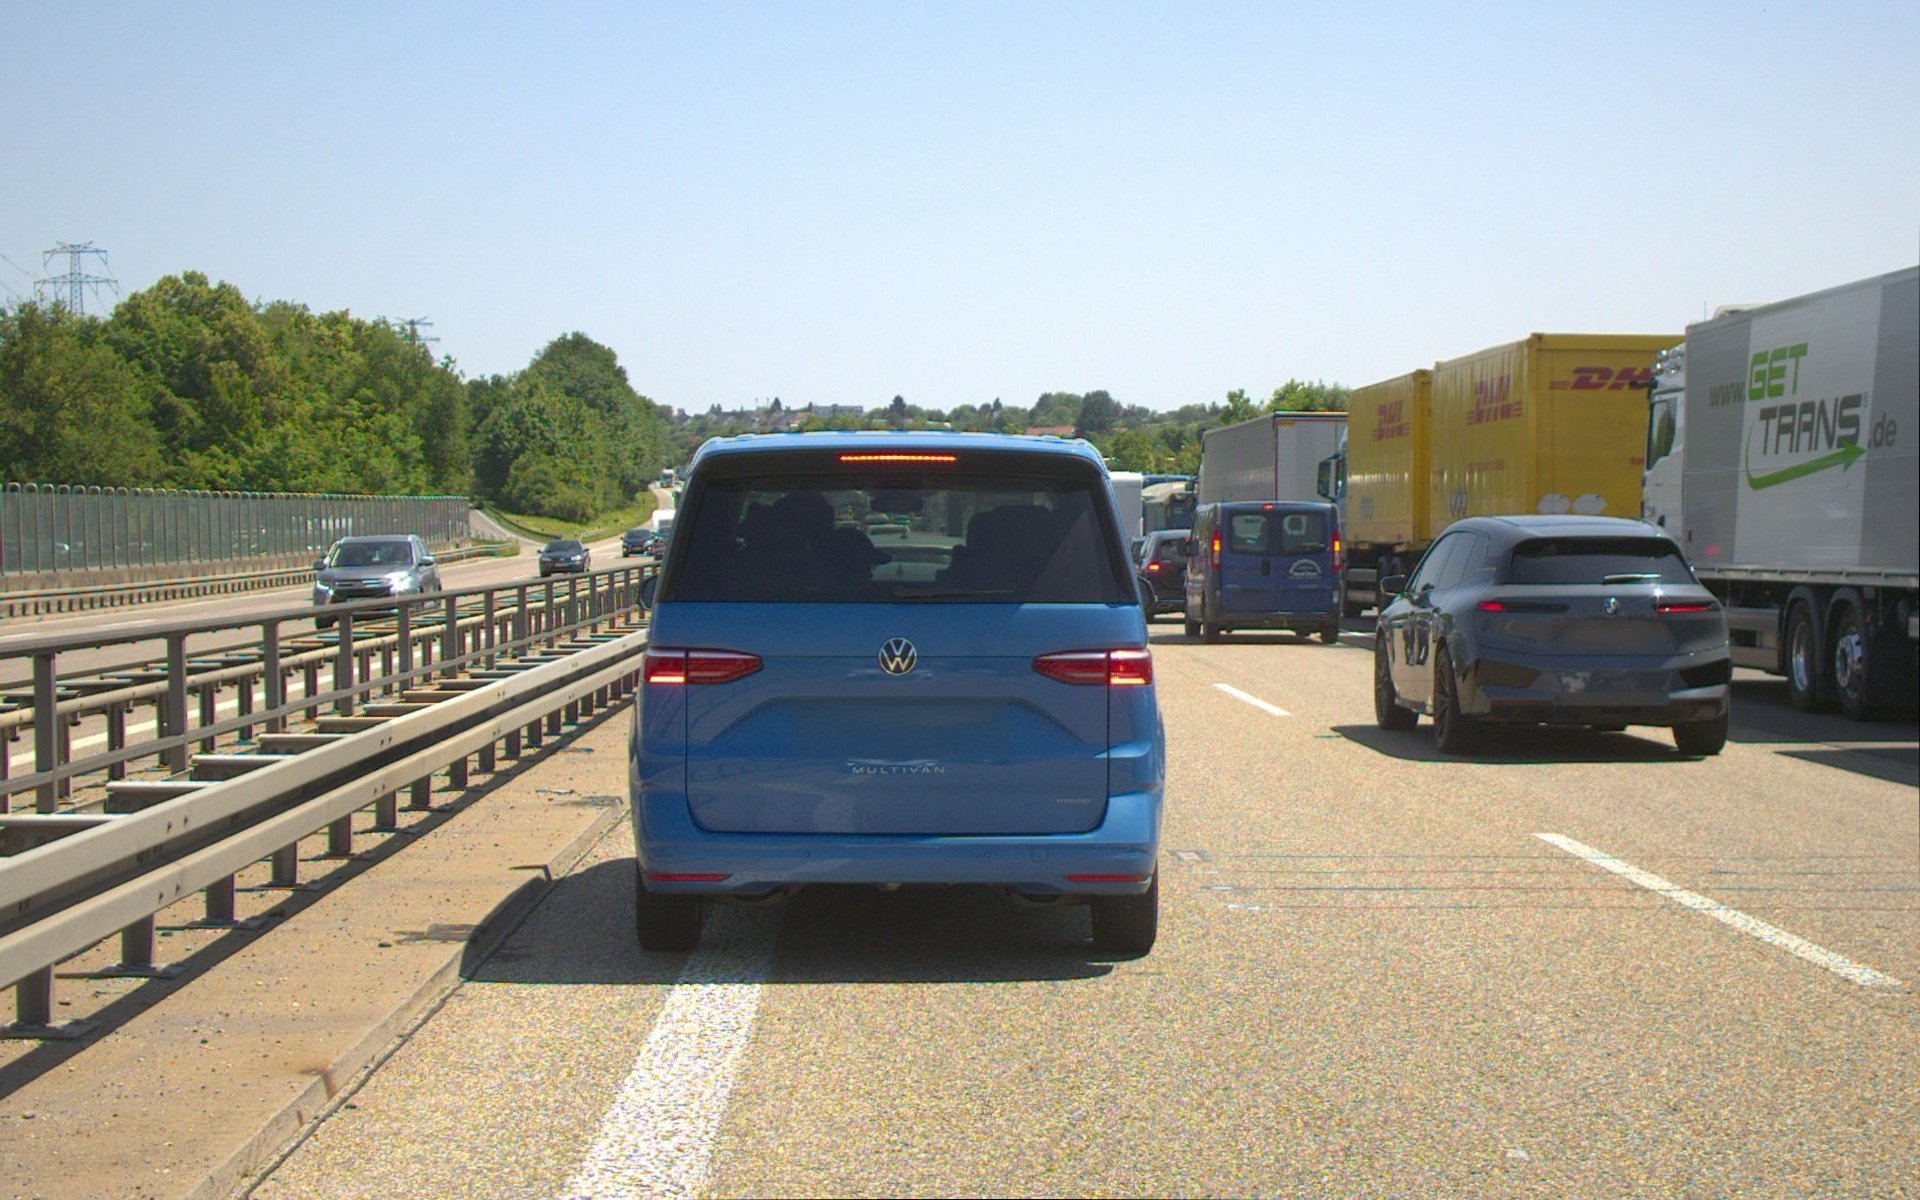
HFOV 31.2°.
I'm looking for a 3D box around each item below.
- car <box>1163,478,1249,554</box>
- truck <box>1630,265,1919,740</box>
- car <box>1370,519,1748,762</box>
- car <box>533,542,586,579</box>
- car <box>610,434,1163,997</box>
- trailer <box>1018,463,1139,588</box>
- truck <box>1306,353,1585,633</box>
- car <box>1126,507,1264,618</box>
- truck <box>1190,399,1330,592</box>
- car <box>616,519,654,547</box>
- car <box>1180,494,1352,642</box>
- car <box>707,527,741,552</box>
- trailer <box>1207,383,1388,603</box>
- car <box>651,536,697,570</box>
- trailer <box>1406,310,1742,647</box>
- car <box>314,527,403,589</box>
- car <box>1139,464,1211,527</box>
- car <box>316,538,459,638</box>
[{"bbox_3d":[6.737,-2.294,94.398,1.993,2.007,4.000,1,1,-1],"label":"car"},{"bbox_3d":[8.551,-0.842,30.844,2.656,3.635,11.012,0,1,-1],"label":"truck"},{"bbox_3d":[4.293,0.228,25.322,1.962,1.639,4.293,0,1,-1],"label":"car"},{"bbox_3d":[-15.532,-1.543,133.570,1.597,1.345,4.180,-2,1,-1],"label":"car"},{"bbox_3d":[-0.275,0.354,13.516,1.820,1.851,4.075,1,1,-1],"label":"car"},{"bbox_3d":[2.957,-1.870,88.629,2.569,2.980,10.663,1,1,-1],"label":"trailer"},{"bbox_3d":[7.985,-1.733,58.074,2.836,4.228,11.011,1,1,-1],"label":"truck"},{"bbox_3d":[3.942,-0.654,58.197,1.993,1.809,4.000,0,1,-1],"label":"car"},{"bbox_3d":[7.250,-2.501,83.984,2.667,4.469,6.850,1,1,-1],"label":"truck"},{"bbox_3d":[-17.742,-3.671,187.961,1.729,1.486,4.420,-2,1,-1],"label":"car"},{"bbox_3d":[4.254,-0.476,48.446,1.962,1.986,4.293,0,1,-1],"label":"car"},{"bbox_3d":[-14.187,-3.620,207.003,1.791,1.473,3.989,-1,1,-1],"label":"car"},{"bbox_3d":[7.378,-2.330,76.626,2.637,4.501,11.302,1,1,-1],"label":"trailer"},{"bbox_3d":[-11.861,-1.968,142.663,1.597,1.313,4.342,-2,1,-1],"label":"car"},{"bbox_3d":[8.360,-1.601,48.053,2.864,4.224,9.012,1,1,-1],"label":"trailer"},{"bbox_3d":[-18.919,-1.352,108.336,1.993,1.878,5.256,0,1,-1],"label":"car"},{"bbox_3d":[6.985,-3.382,112.115,1.993,2.007,4.461,-1,1,-1],"label":"car"},{"bbox_3d":[-10.012,-0.247,60.422,1.805,1.621,4.478,-2,1,-1],"label":"car"}]
